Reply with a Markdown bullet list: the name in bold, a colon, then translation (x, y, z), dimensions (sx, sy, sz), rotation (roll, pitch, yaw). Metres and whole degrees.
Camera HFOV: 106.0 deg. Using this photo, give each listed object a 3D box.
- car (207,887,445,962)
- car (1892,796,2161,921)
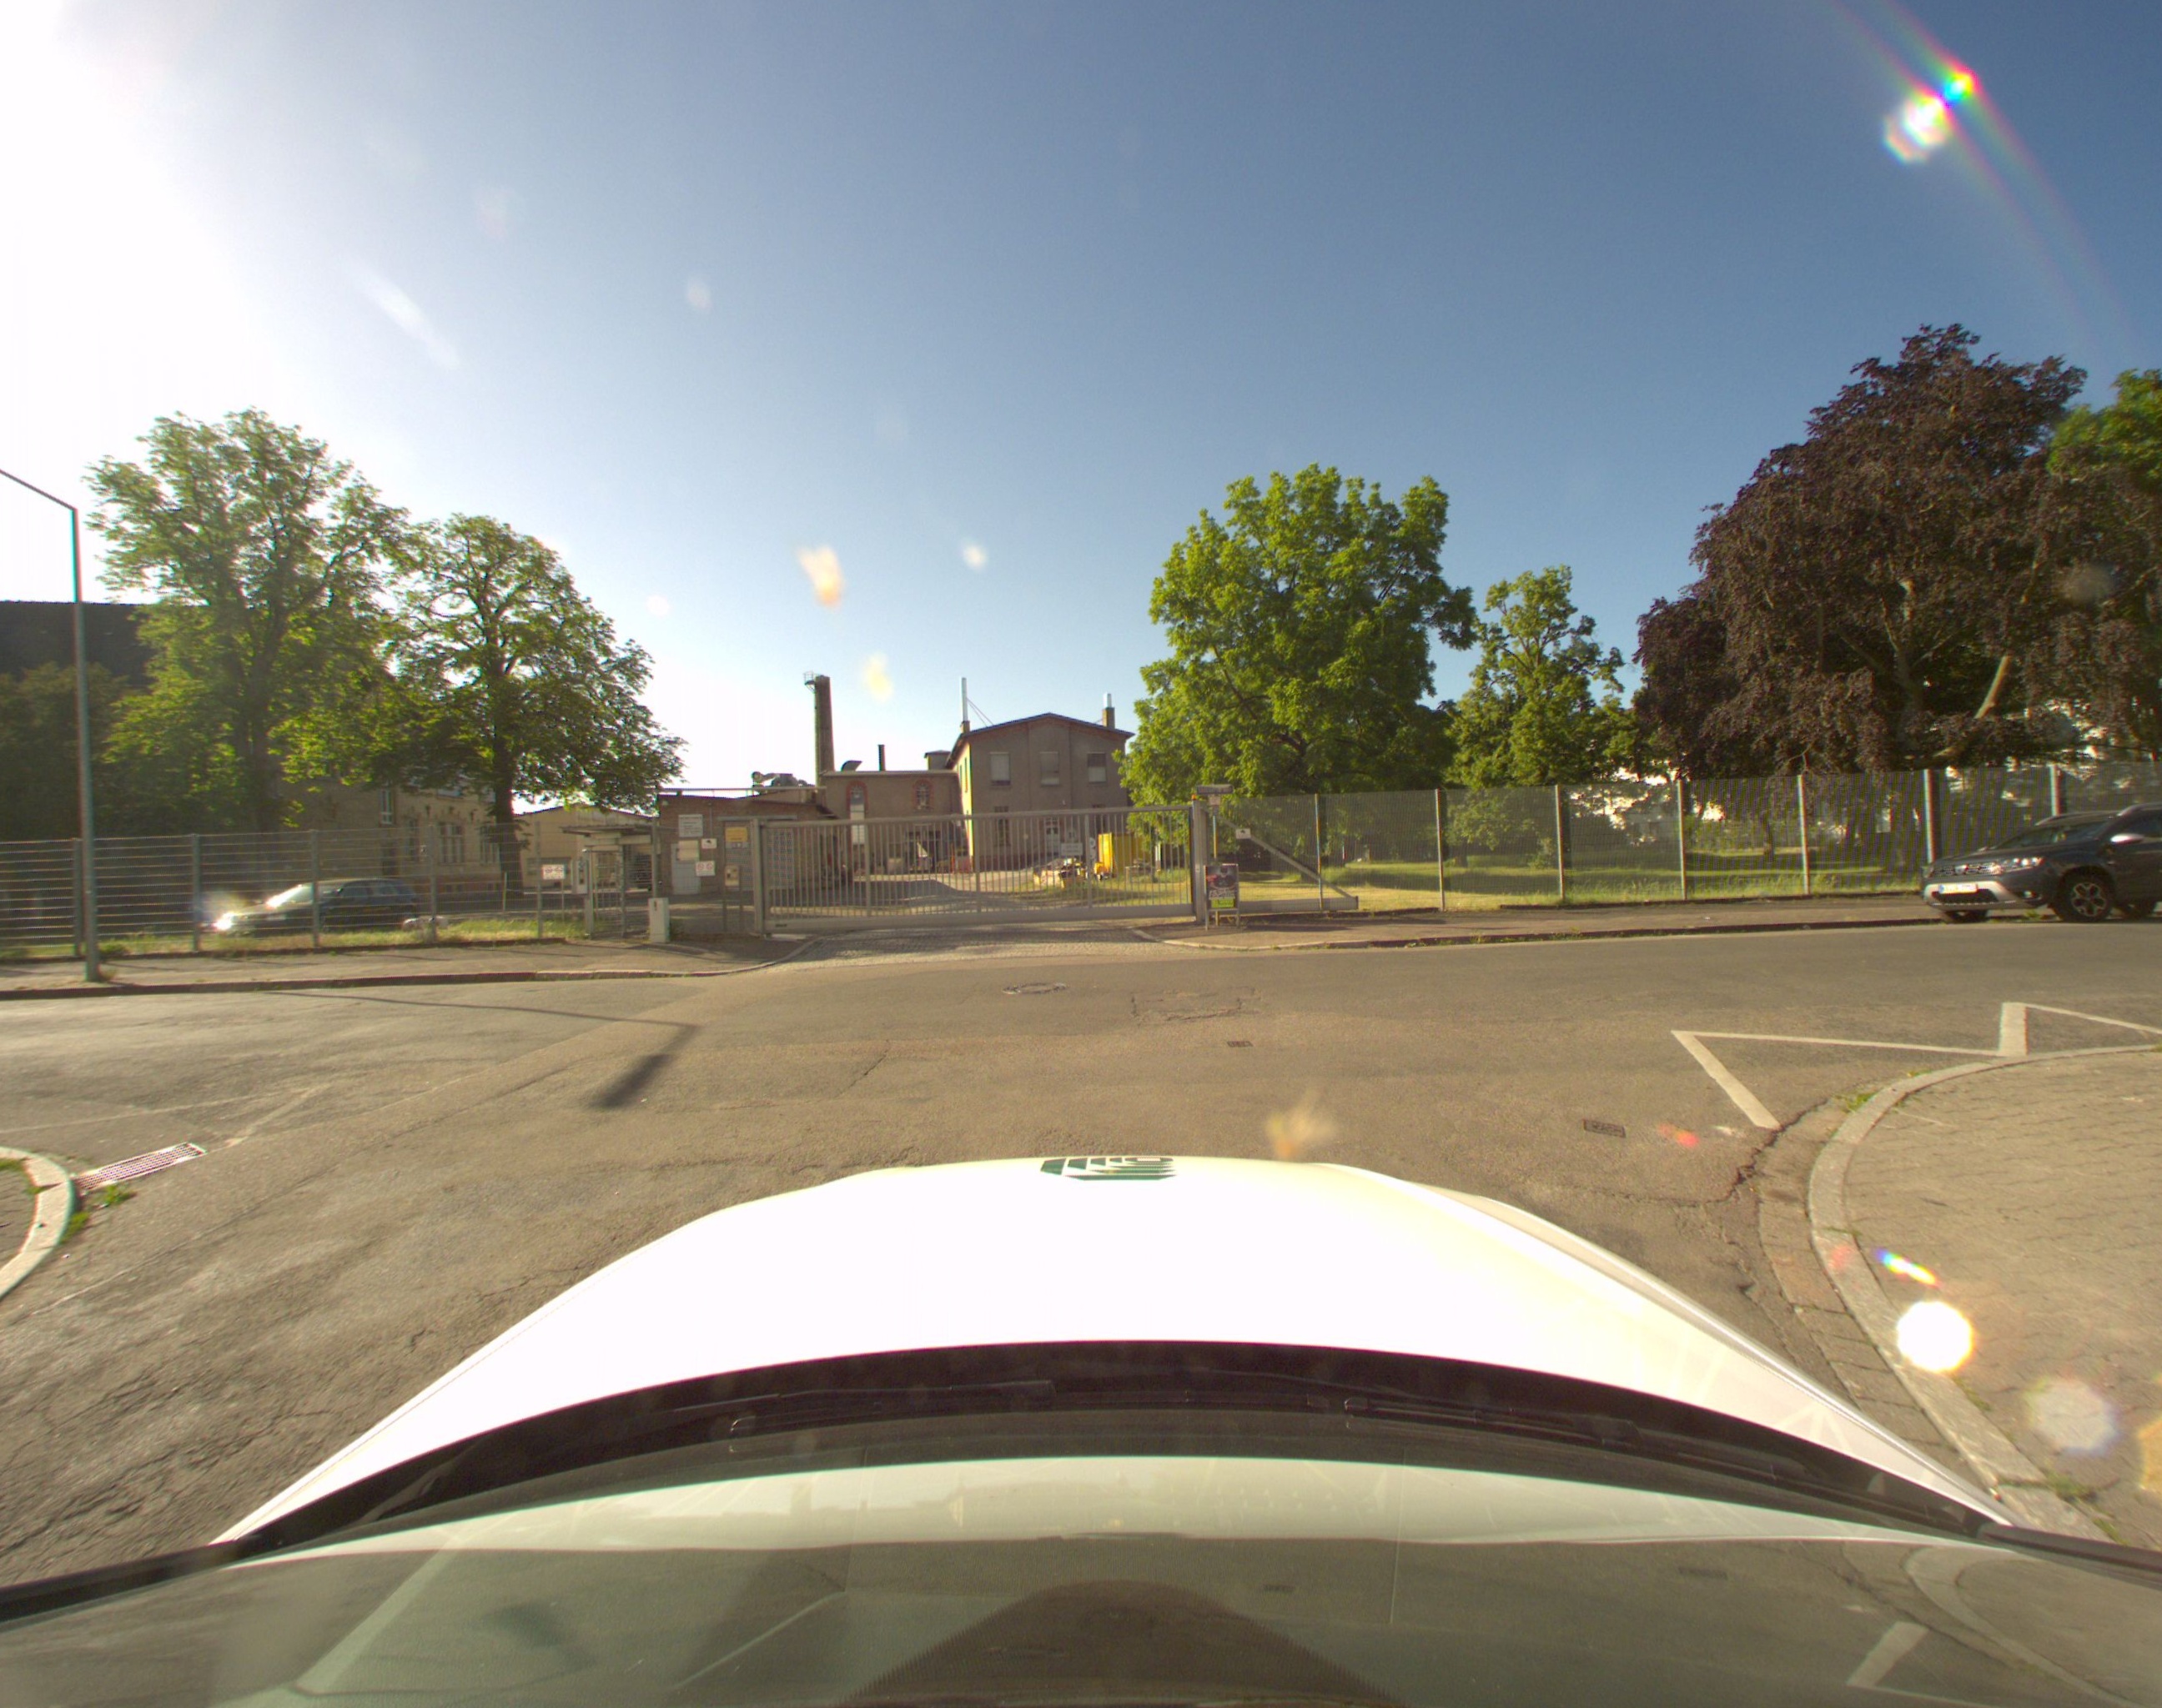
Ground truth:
- **car**: translation (-18.024, 1.621, 19.763), dimensions (1.987, 1.420, 4.000), rotation (-2, -1, 0)
- **car**: translation (15.143, 0.081, 12.209), dimensions (4.137, 1.664, 1.717), rotation (-2, -4, 0)
